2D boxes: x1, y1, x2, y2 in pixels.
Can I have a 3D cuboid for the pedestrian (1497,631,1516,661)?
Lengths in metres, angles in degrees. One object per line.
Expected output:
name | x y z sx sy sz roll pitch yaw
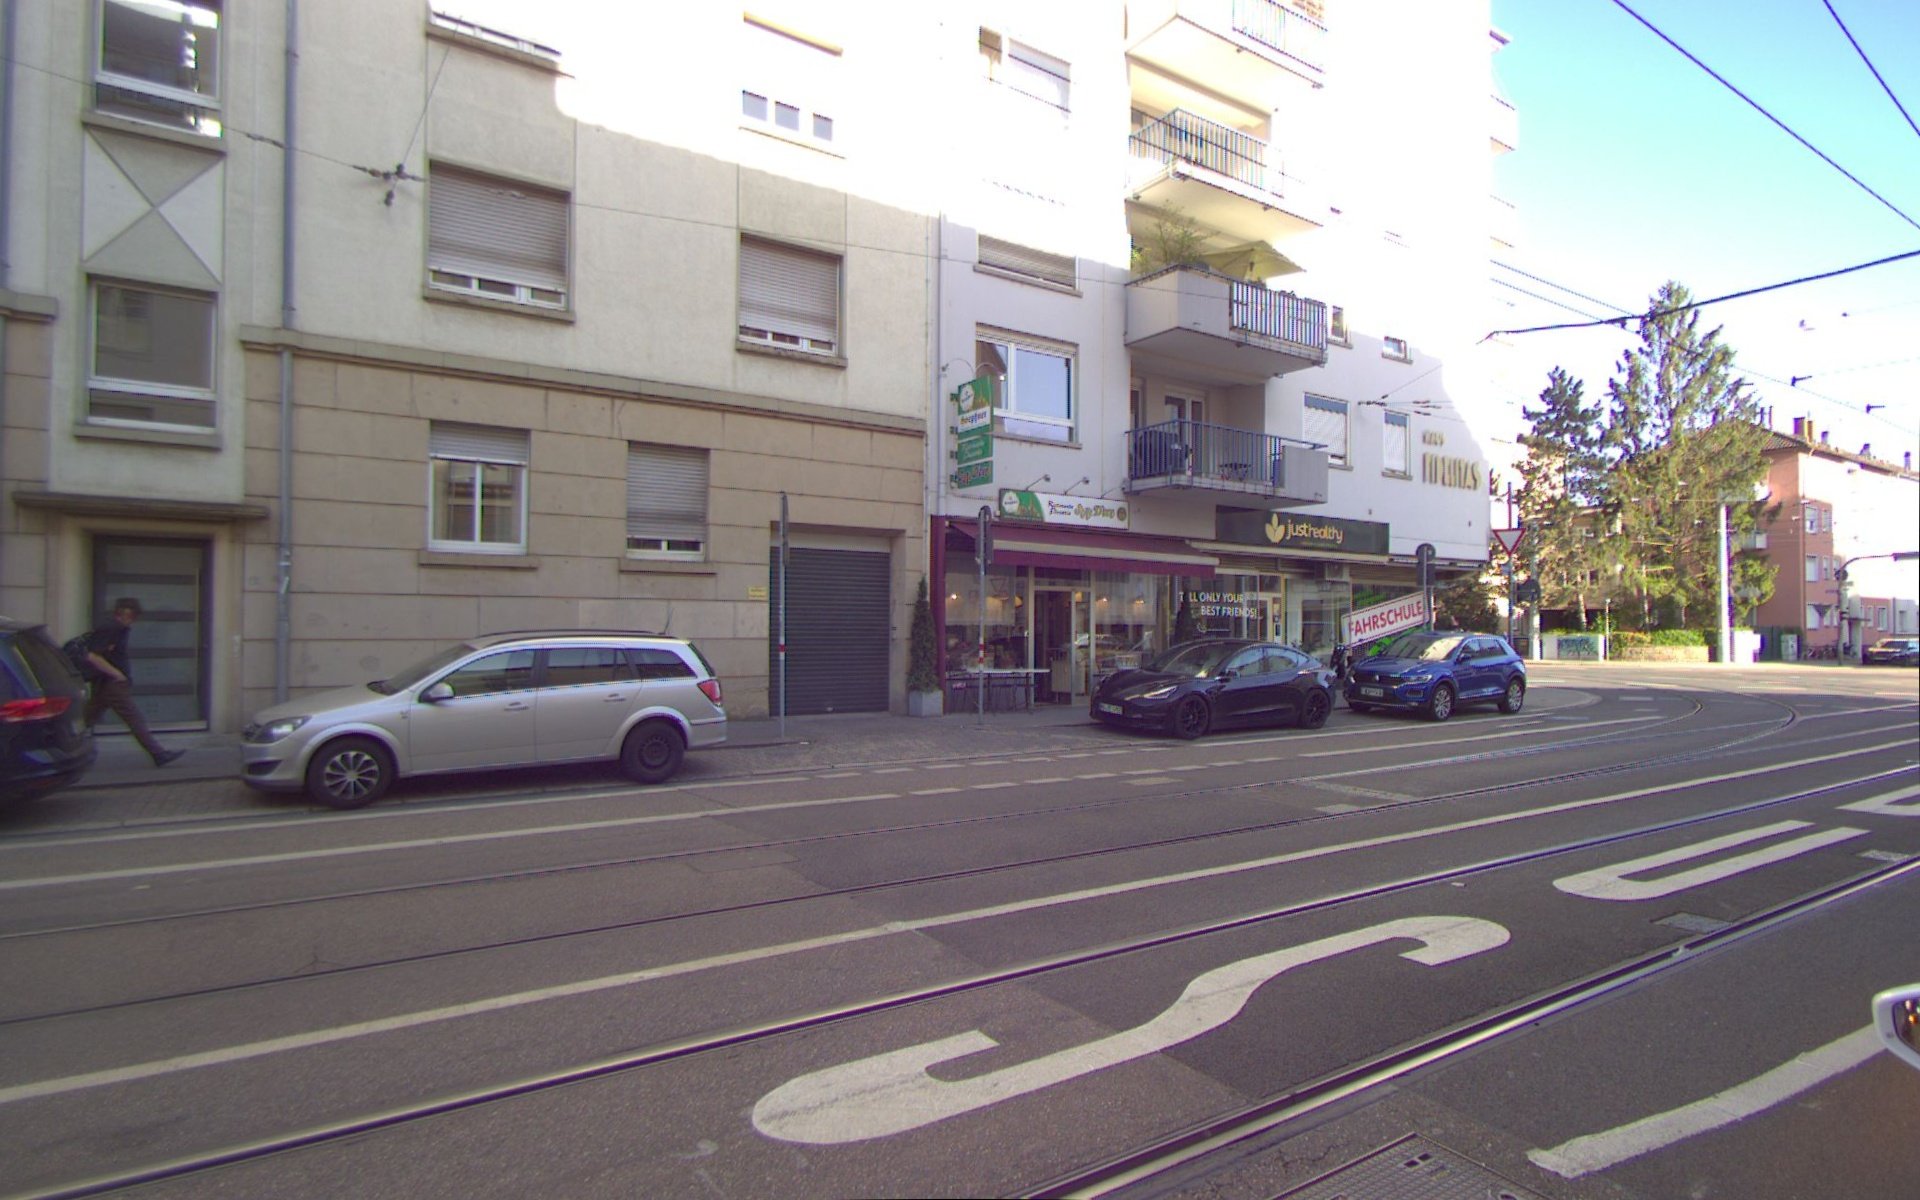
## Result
pedestrian | 31.469 2.658 57.883 0.800 1.725 0.676 -1 -2 44

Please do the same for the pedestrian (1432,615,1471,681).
pedestrian | 14.009 1.353 28.668 0.707 1.859 0.771 0 -1 -3

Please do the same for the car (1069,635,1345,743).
car | 4.011 1.317 16.038 4.442 1.422 1.714 1 1 -34

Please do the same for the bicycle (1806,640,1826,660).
bicycle | 47.176 2.736 55.339 1.895 1.097 0.532 2 -2 -41

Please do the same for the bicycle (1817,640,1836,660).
bicycle | 47.604 2.748 55.163 1.895 1.097 0.532 2 -2 -41

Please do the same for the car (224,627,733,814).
car | -4.708 1.050 10.210 4.343 1.497 1.785 1 -1 -34

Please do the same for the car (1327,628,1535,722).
car | 8.990 1.347 19.081 4.072 1.525 1.714 1 1 -34

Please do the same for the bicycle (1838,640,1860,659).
bicycle | 53.155 2.939 60.024 1.892 1.097 0.605 1 -2 -37

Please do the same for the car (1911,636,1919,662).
car | 58.125 2.899 59.450 3.961 1.539 1.938 1 -2 -36

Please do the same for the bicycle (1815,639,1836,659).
bicycle | 50.739 2.861 58.879 1.892 1.097 0.533 1 -2 -37

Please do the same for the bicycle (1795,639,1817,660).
bicycle | 46.880 2.725 55.631 1.895 1.097 0.634 2 -2 -41

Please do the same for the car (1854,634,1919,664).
car | 49.723 2.618 53.781 3.961 1.539 1.938 1 -2 -36

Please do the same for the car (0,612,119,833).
car | -8.996 0.881 7.187 4.343 1.620 1.785 1 -1 -34

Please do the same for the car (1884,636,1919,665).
car | 54.271 2.842 57.011 4.006 1.539 1.938 1 -2 -36

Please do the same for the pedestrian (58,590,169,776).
pedestrian | -8.246 0.783 9.815 0.722 1.731 0.600 1 -2 -32
